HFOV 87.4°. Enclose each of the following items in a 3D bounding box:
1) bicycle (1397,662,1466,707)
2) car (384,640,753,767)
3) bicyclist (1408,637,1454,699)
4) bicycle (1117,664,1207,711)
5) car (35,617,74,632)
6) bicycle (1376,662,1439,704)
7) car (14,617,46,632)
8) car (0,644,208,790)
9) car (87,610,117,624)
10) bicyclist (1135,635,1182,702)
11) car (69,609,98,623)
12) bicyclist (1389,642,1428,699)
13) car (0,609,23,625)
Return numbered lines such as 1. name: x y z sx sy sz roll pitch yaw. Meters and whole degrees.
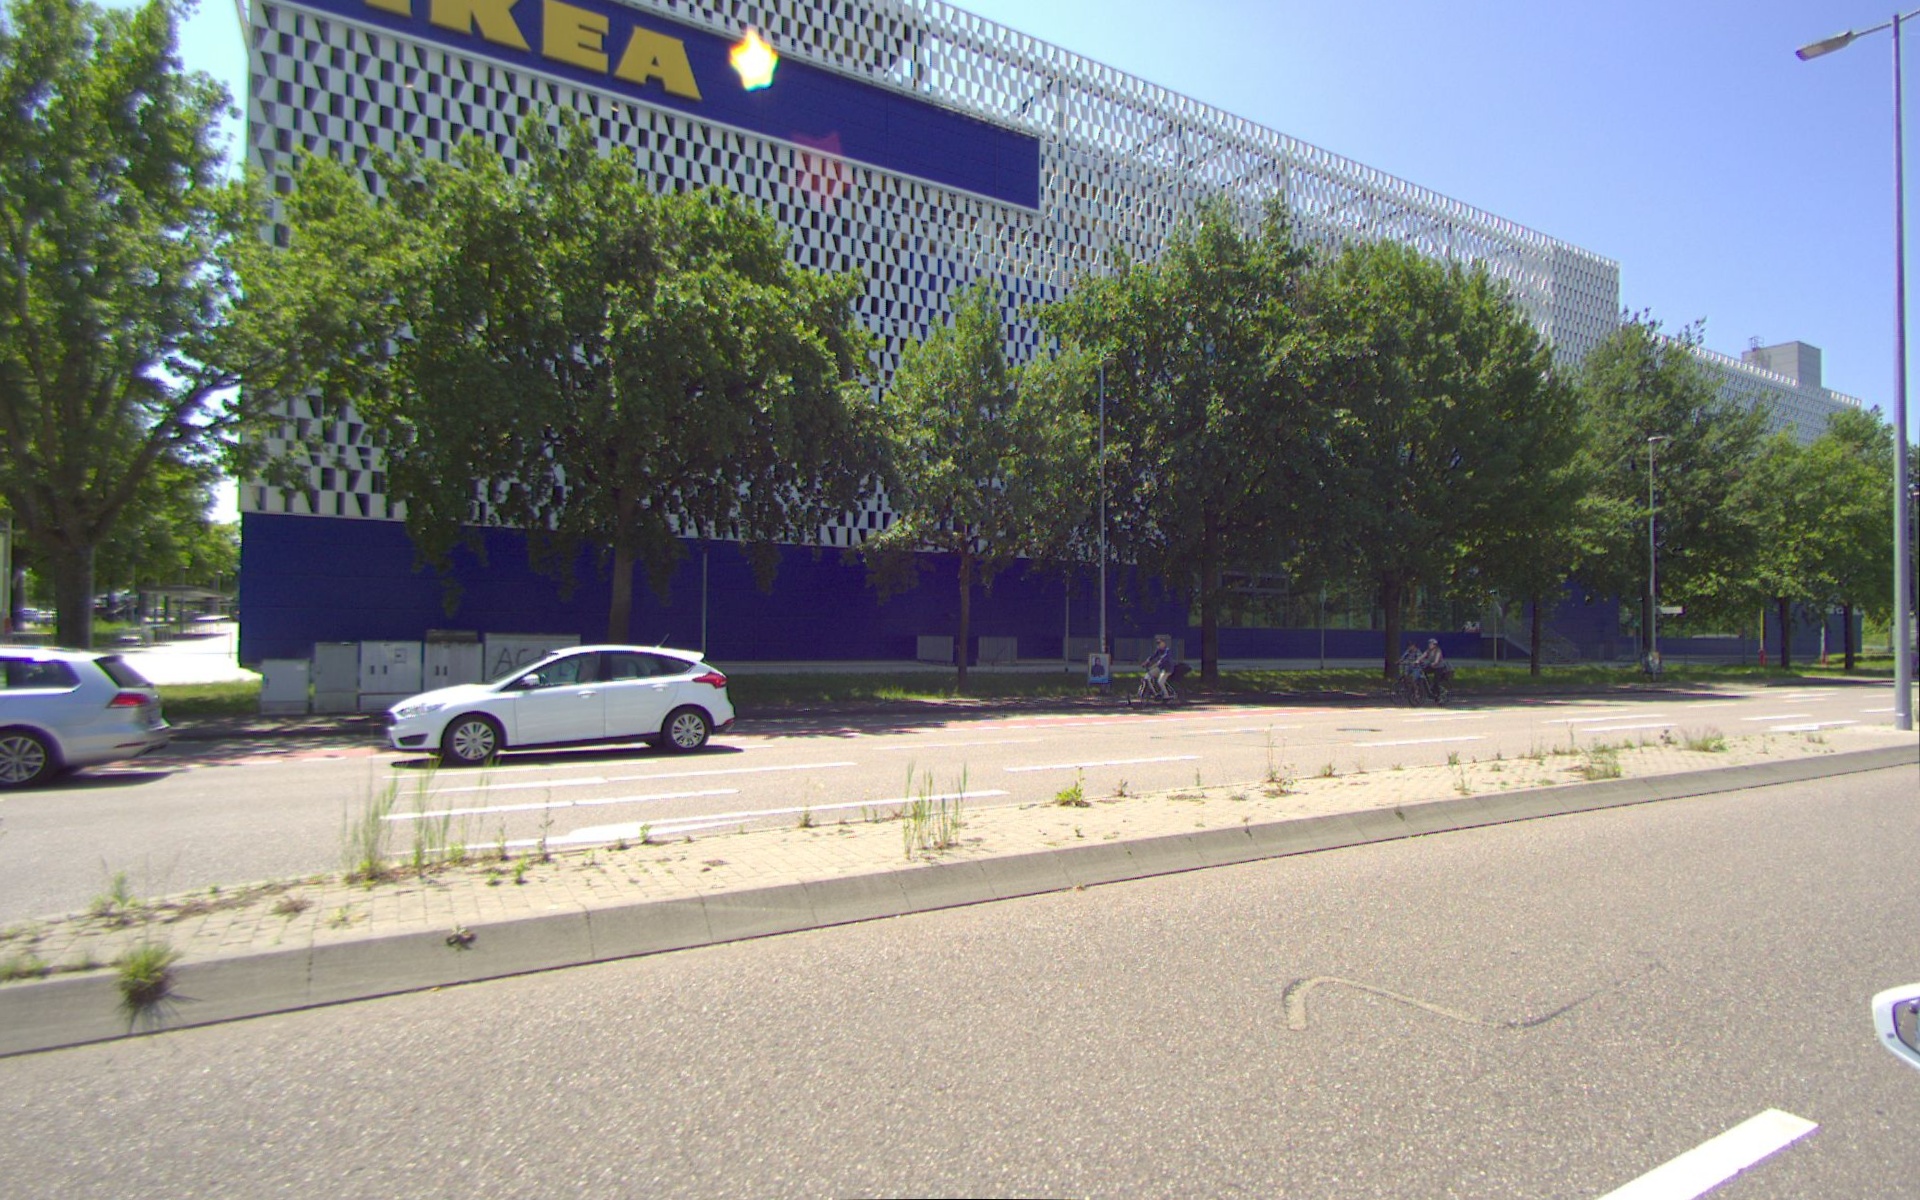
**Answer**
1. bicycle: 12.727 2.254 27.068 2.094 1.174 0.626 2 -4 -32
2. car: -5.191 1.326 13.514 4.401 1.464 1.718 2 -4 -31
3. bicyclist: 12.678 1.822 27.060 1.033 1.650 0.630 2 -4 -32
4. bicycle: 5.298 2.268 26.336 2.404 1.140 0.736 2 -2 -28
5. car: -93.692 2.541 103.983 1.975 1.572 3.971 1 -2 -28
6. bicycle: 12.859 2.368 28.848 1.946 1.148 0.635 2 -2 -29
7. car: -100.598 2.625 108.684 1.624 1.572 3.398 1 -2 -27
8. car: -10.671 1.182 10.276 4.572 1.441 1.737 2 -3 -32
9. car: -101.579 1.999 118.981 1.976 1.572 3.969 2 -2 -29
10. bicyclist: 5.200 1.781 26.293 0.940 1.708 0.742 1 -2 -28
11. car: -108.719 1.986 124.642 1.830 1.647 3.771 2 -2 -28
12. bicyclist: 12.882 2.017 28.870 0.874 1.603 0.634 2 -2 -29
13. car: -96.999 1.723 101.817 1.900 1.572 3.583 1 -2 -27
